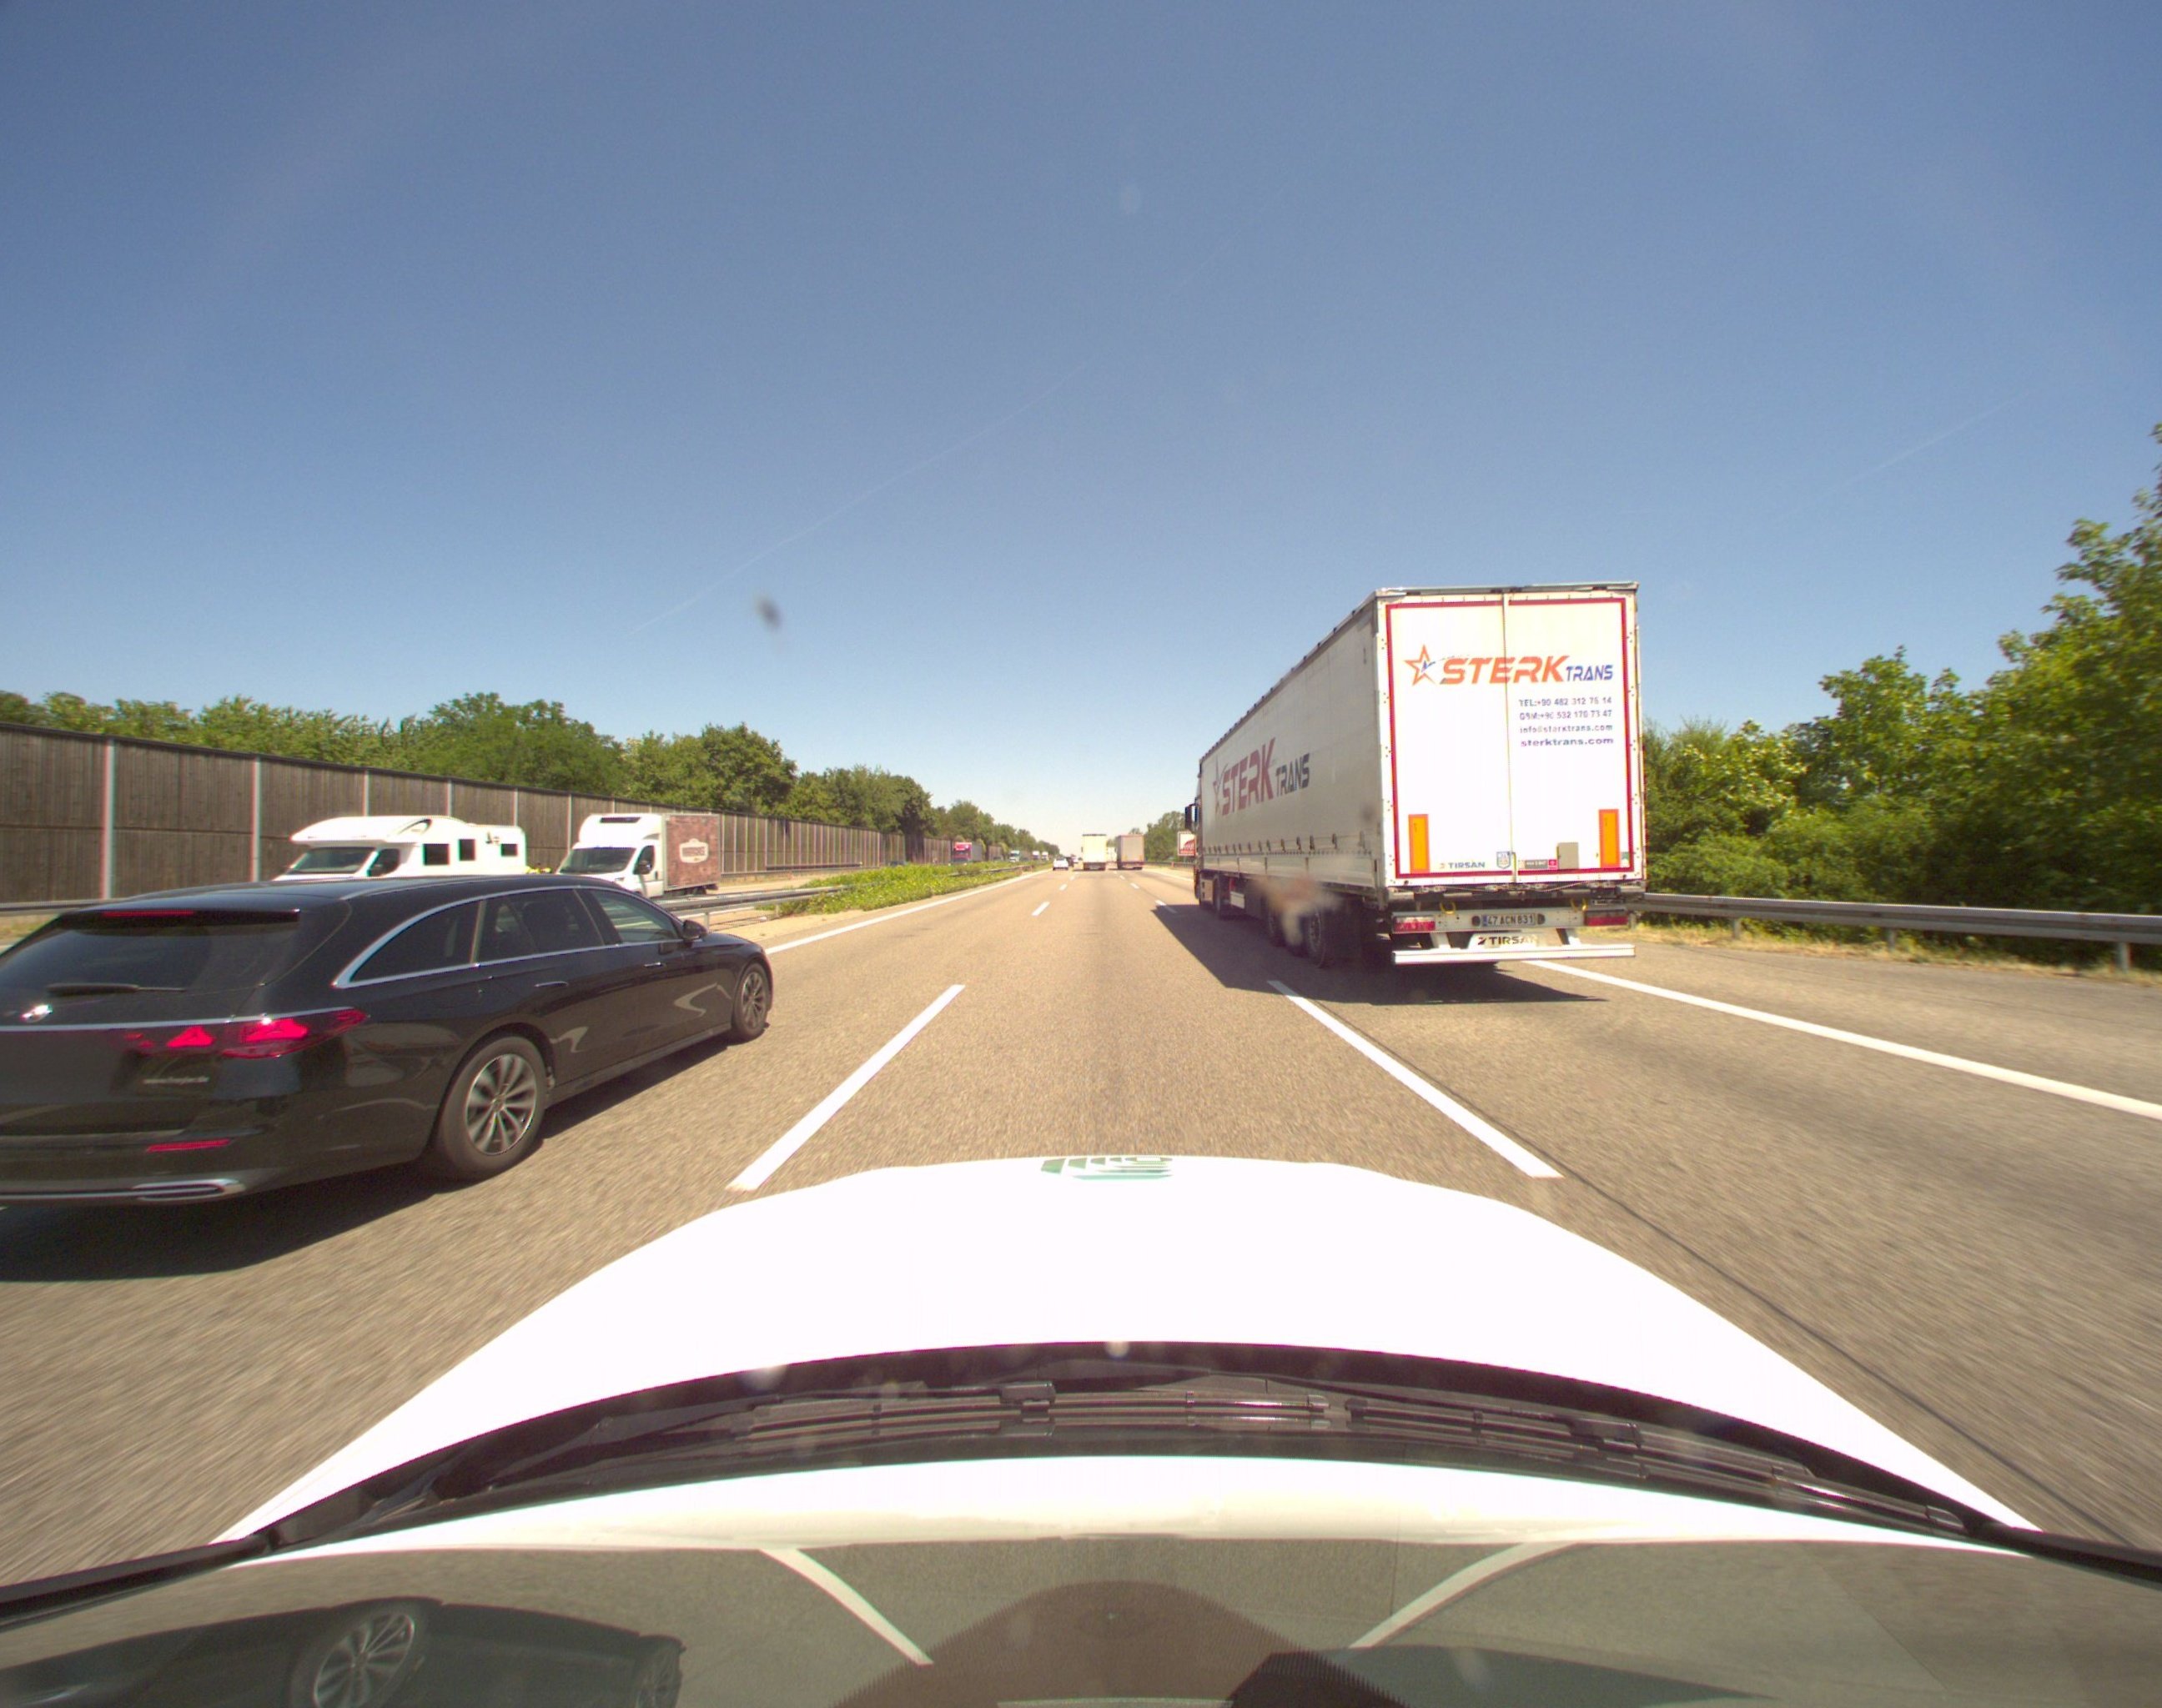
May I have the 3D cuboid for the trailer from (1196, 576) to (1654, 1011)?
[{"bbox_3d":[4.245,-0.548,14.800,2.697,4.088,14.156,-1,0,2],"label":"trailer"}]

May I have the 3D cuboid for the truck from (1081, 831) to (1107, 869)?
[{"bbox_3d":[1.425,-0.386,94.176,2.698,4.086,13.469,0,0,0],"label":"truck"}]

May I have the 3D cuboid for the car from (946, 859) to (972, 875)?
[{"bbox_3d":[-11.543,1.210,77.248,1.700,1.355,4.001,-1,0,1],"label":"car"}]

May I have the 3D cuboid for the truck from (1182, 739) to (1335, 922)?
[{"bbox_3d":[4.440,-0.518,21.902,2.697,4.088,6.966,-1,0,1],"label":"truck"}]

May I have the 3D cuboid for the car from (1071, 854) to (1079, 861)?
[{"bbox_3d":[-1.539,0.919,205.120,1.851,1.617,3.996,-1,0,-3],"label":"car"}]

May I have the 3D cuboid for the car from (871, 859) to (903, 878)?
[{"bbox_3d":[-17.132,1.251,72.057,1.807,1.599,4.001,-1,0,1],"label":"car"}]

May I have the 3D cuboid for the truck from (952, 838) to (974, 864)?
[{"bbox_3d":[-18.840,-0.416,130.163,2.477,4.087,4.680,-1,0,2],"label":"truck"}]

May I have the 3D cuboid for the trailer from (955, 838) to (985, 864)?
[{"bbox_3d":[-18.540,-0.386,137.208,2.486,4.087,14.278,-1,0,2],"label":"trailer"}]

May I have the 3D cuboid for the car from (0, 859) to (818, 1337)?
[{"bbox_3d":[-3.773,0.818,5.550,1.936,1.506,5.822,-1,0,1],"label":"car"}]

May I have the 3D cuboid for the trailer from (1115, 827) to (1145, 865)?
[{"bbox_3d":[5.716,-0.825,96.827,2.695,4.216,13.208,0,0,0],"label":"trailer"}]

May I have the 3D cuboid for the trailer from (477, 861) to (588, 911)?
[{"bbox_3d":[-18.971,1.061,28.305,1.721,1.578,3.092,-1,0,0],"label":"trailer"}]

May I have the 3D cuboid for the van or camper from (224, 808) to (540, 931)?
[{"bbox_3d":[-19.126,0.379,23.125,2.549,2.914,7.375,-1,0,0],"label":"van or camper"}]

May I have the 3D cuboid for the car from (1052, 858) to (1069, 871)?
[{"bbox_3d":[-2.431,1.211,97.804,1.849,1.486,3.999,-1,0,-1],"label":"car"}]

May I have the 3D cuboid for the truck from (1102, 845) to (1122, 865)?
[{"bbox_3d":[6.750,0.229,181.459,3.366,4.303,11.438,2,0,-3],"label":"truck"}]

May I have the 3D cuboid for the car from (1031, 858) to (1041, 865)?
[{"bbox_3d":[-10.458,1.720,190.783,1.987,1.720,4.532,-1,0,0],"label":"car"}]

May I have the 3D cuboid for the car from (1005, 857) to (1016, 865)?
[{"bbox_3d":[-15.783,1.629,182.043,1.987,1.720,4.532,-1,0,0],"label":"car"}]

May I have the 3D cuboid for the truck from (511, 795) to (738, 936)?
[{"bbox_3d":[-12.488,0.289,23.113,2.401,3.352,6.920,-1,0,1],"label":"truck"}]

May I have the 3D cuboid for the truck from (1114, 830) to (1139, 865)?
[{"bbox_3d":[5.688,-0.795,102.245,2.683,4.215,7.836,0,0,0],"label":"truck"}]

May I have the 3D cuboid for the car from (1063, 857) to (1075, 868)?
[{"bbox_3d":[-1.883,1.272,127.050,1.849,1.617,3.999,-1,0,-1],"label":"car"}]

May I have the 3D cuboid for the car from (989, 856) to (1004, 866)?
[{"bbox_3d":[-14.946,1.210,144.527,1.987,1.816,5.220,-1,0,0],"label":"car"}]
